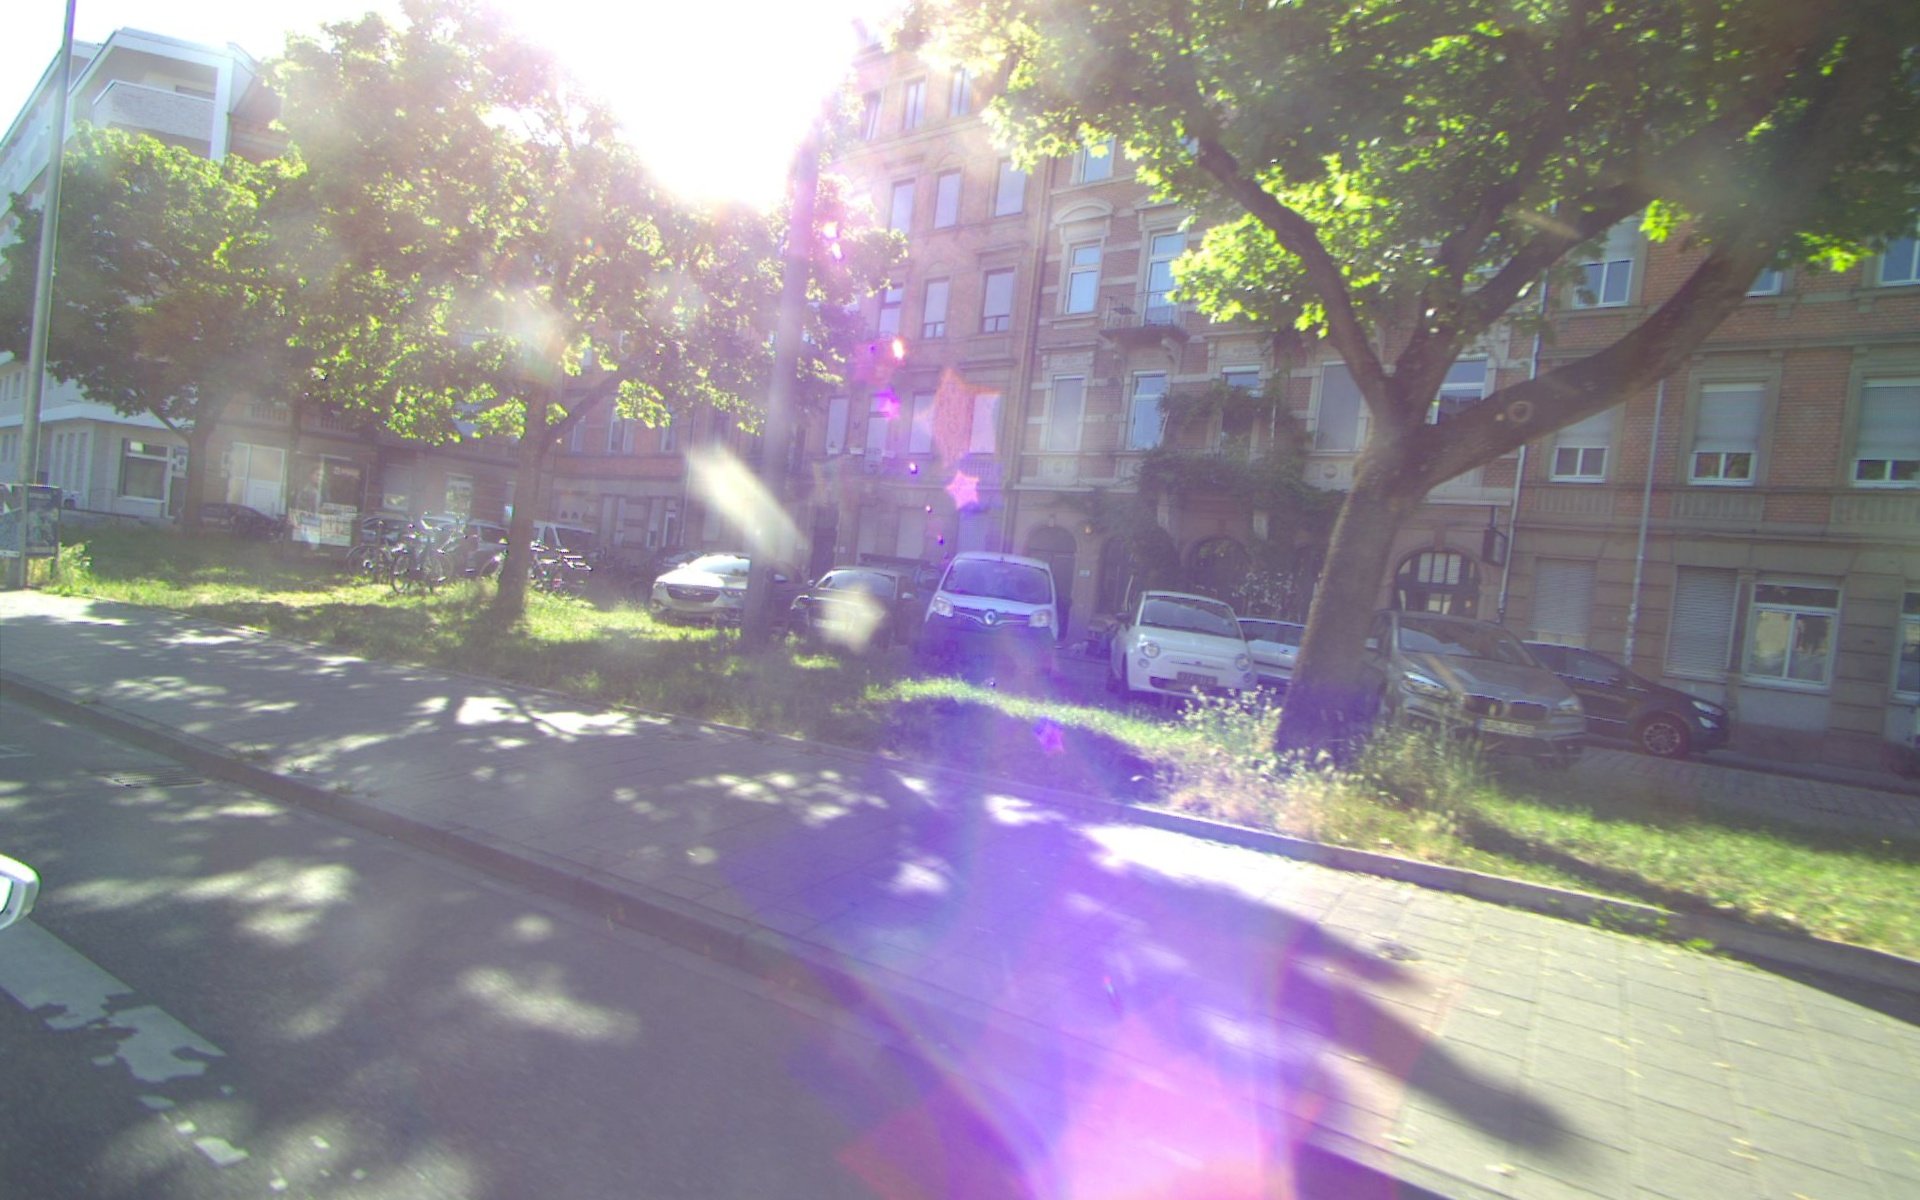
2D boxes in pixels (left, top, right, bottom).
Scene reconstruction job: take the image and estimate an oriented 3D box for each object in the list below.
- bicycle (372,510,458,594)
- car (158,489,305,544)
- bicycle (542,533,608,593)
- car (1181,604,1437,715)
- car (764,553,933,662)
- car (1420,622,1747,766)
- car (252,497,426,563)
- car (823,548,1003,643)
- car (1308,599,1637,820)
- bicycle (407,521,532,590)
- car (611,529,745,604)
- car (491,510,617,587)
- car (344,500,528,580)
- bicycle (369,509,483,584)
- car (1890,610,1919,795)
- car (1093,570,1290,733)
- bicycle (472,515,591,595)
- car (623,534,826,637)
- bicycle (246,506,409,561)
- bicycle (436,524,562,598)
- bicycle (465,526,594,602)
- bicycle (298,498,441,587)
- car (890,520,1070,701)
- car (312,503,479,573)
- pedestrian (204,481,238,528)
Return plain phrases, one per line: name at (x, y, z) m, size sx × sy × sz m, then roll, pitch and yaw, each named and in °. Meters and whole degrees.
bicycle at (-9.384, -0.816, 17.387) m, size 0.757 × 1.307 × 1.593 m, roll 6°, pitch 2°, yaw -10°
car at (-27.531, -3.119, 38.176) m, size 4.053 × 1.454 × 1.989 m, roll 7°, pitch 0°, yaw -23°
bicycle at (-9.893, -0.918, 25.913) m, size 0.773 × 1.382 × 2.099 m, roll 6°, pitch 0°, yaw -1°
car at (7.066, 1.140, 20.570) m, size 4.442 × 1.549 × 1.992 m, roll 8°, pitch 3°, yaw 36°
car at (-1.717, 0.118, 16.747) m, size 1.889 × 1.397 × 3.615 m, roll 7°, pitch 0°, yaw 6°
car at (10.749, 1.543, 17.525) m, size 4.449 × 1.713 × 1.990 m, roll 7°, pitch 1°, yaw 41°
car at (-17.935, -1.971, 29.274) m, size 1.805 × 1.354 × 4.056 m, roll 7°, pitch 0°, yaw 17°
car at (-1.344, -0.142, 27.283) m, size 4.656 × 2.004 × 1.989 m, roll 8°, pitch 3°, yaw 40°
car at (5.406, 0.981, 11.396) m, size 1.962 × 1.751 × 4.510 m, roll 6°, pitch 2°, yaw 11°
bicycle at (-10.264, -0.919, 21.142) m, size 0.810 × 1.173 × 2.162 m, roll 7°, pitch 1°, yaw 36°
car at (-9.595, -1.154, 34.009) m, size 4.656 × 2.004 × 1.989 m, roll 8°, pitch 3°, yaw 40°
car at (-15.793, -2.021, 39.019) m, size 5.113 × 2.389 × 2.344 m, roll 8°, pitch 3°, yaw 41°
car at (-13.675, -1.507, 26.615) m, size 1.901 × 1.585 × 4.471 m, roll 7°, pitch 0°, yaw 9°
bicycle at (-12.007, -1.178, 22.692) m, size 0.774 × 1.416 × 2.096 m, roll 7°, pitch 1°, yaw 29°
car at (15.653, 1.675, 13.397) m, size 4.449 × 2.620 × 1.989 m, roll 8°, pitch 4°, yaw 41°
car at (3.102, 0.554, 14.013) m, size 2.060 × 1.670 × 4.877 m, roll 6°, pitch 2°, yaw 11°
bicycle at (-8.872, -0.910, 20.912) m, size 0.775 × 1.382 × 2.094 m, roll 7°, pitch 1°, yaw 34°
car at (-4.090, -0.213, 18.415) m, size 2.007 × 1.397 × 4.753 m, roll 7°, pitch 0°, yaw 6°
bicycle at (-20.574, -2.175, 32.686) m, size 5.139 × 1.141 × 2.675 m, roll 7°, pitch 0°, yaw 35°
bicycle at (-8.744, -0.732, 19.158) m, size 0.829 × 1.208 × 1.954 m, roll 8°, pitch 3°, yaw 39°
bicycle at (-7.901, -0.650, 18.529) m, size 0.887 × 1.196 × 1.941 m, roll 7°, pitch 2°, yaw 39°
bicycle at (-11.078, -1.052, 18.946) m, size 0.775 × 1.382 × 2.094 m, roll 7°, pitch 1°, yaw 34°
car at (0.499, 0.071, 14.846) m, size 2.060 × 2.040 × 4.877 m, roll 6°, pitch 2°, yaw 6°
car at (-15.747, -1.687, 28.294) m, size 1.727 × 1.459 × 3.843 m, roll 7°, pitch 0°, yaw 18°
pedestrian at (-27.381, -3.532, 37.293) m, size 0.632 × 1.597 × 0.769 m, roll 6°, pitch 1°, yaw -13°
